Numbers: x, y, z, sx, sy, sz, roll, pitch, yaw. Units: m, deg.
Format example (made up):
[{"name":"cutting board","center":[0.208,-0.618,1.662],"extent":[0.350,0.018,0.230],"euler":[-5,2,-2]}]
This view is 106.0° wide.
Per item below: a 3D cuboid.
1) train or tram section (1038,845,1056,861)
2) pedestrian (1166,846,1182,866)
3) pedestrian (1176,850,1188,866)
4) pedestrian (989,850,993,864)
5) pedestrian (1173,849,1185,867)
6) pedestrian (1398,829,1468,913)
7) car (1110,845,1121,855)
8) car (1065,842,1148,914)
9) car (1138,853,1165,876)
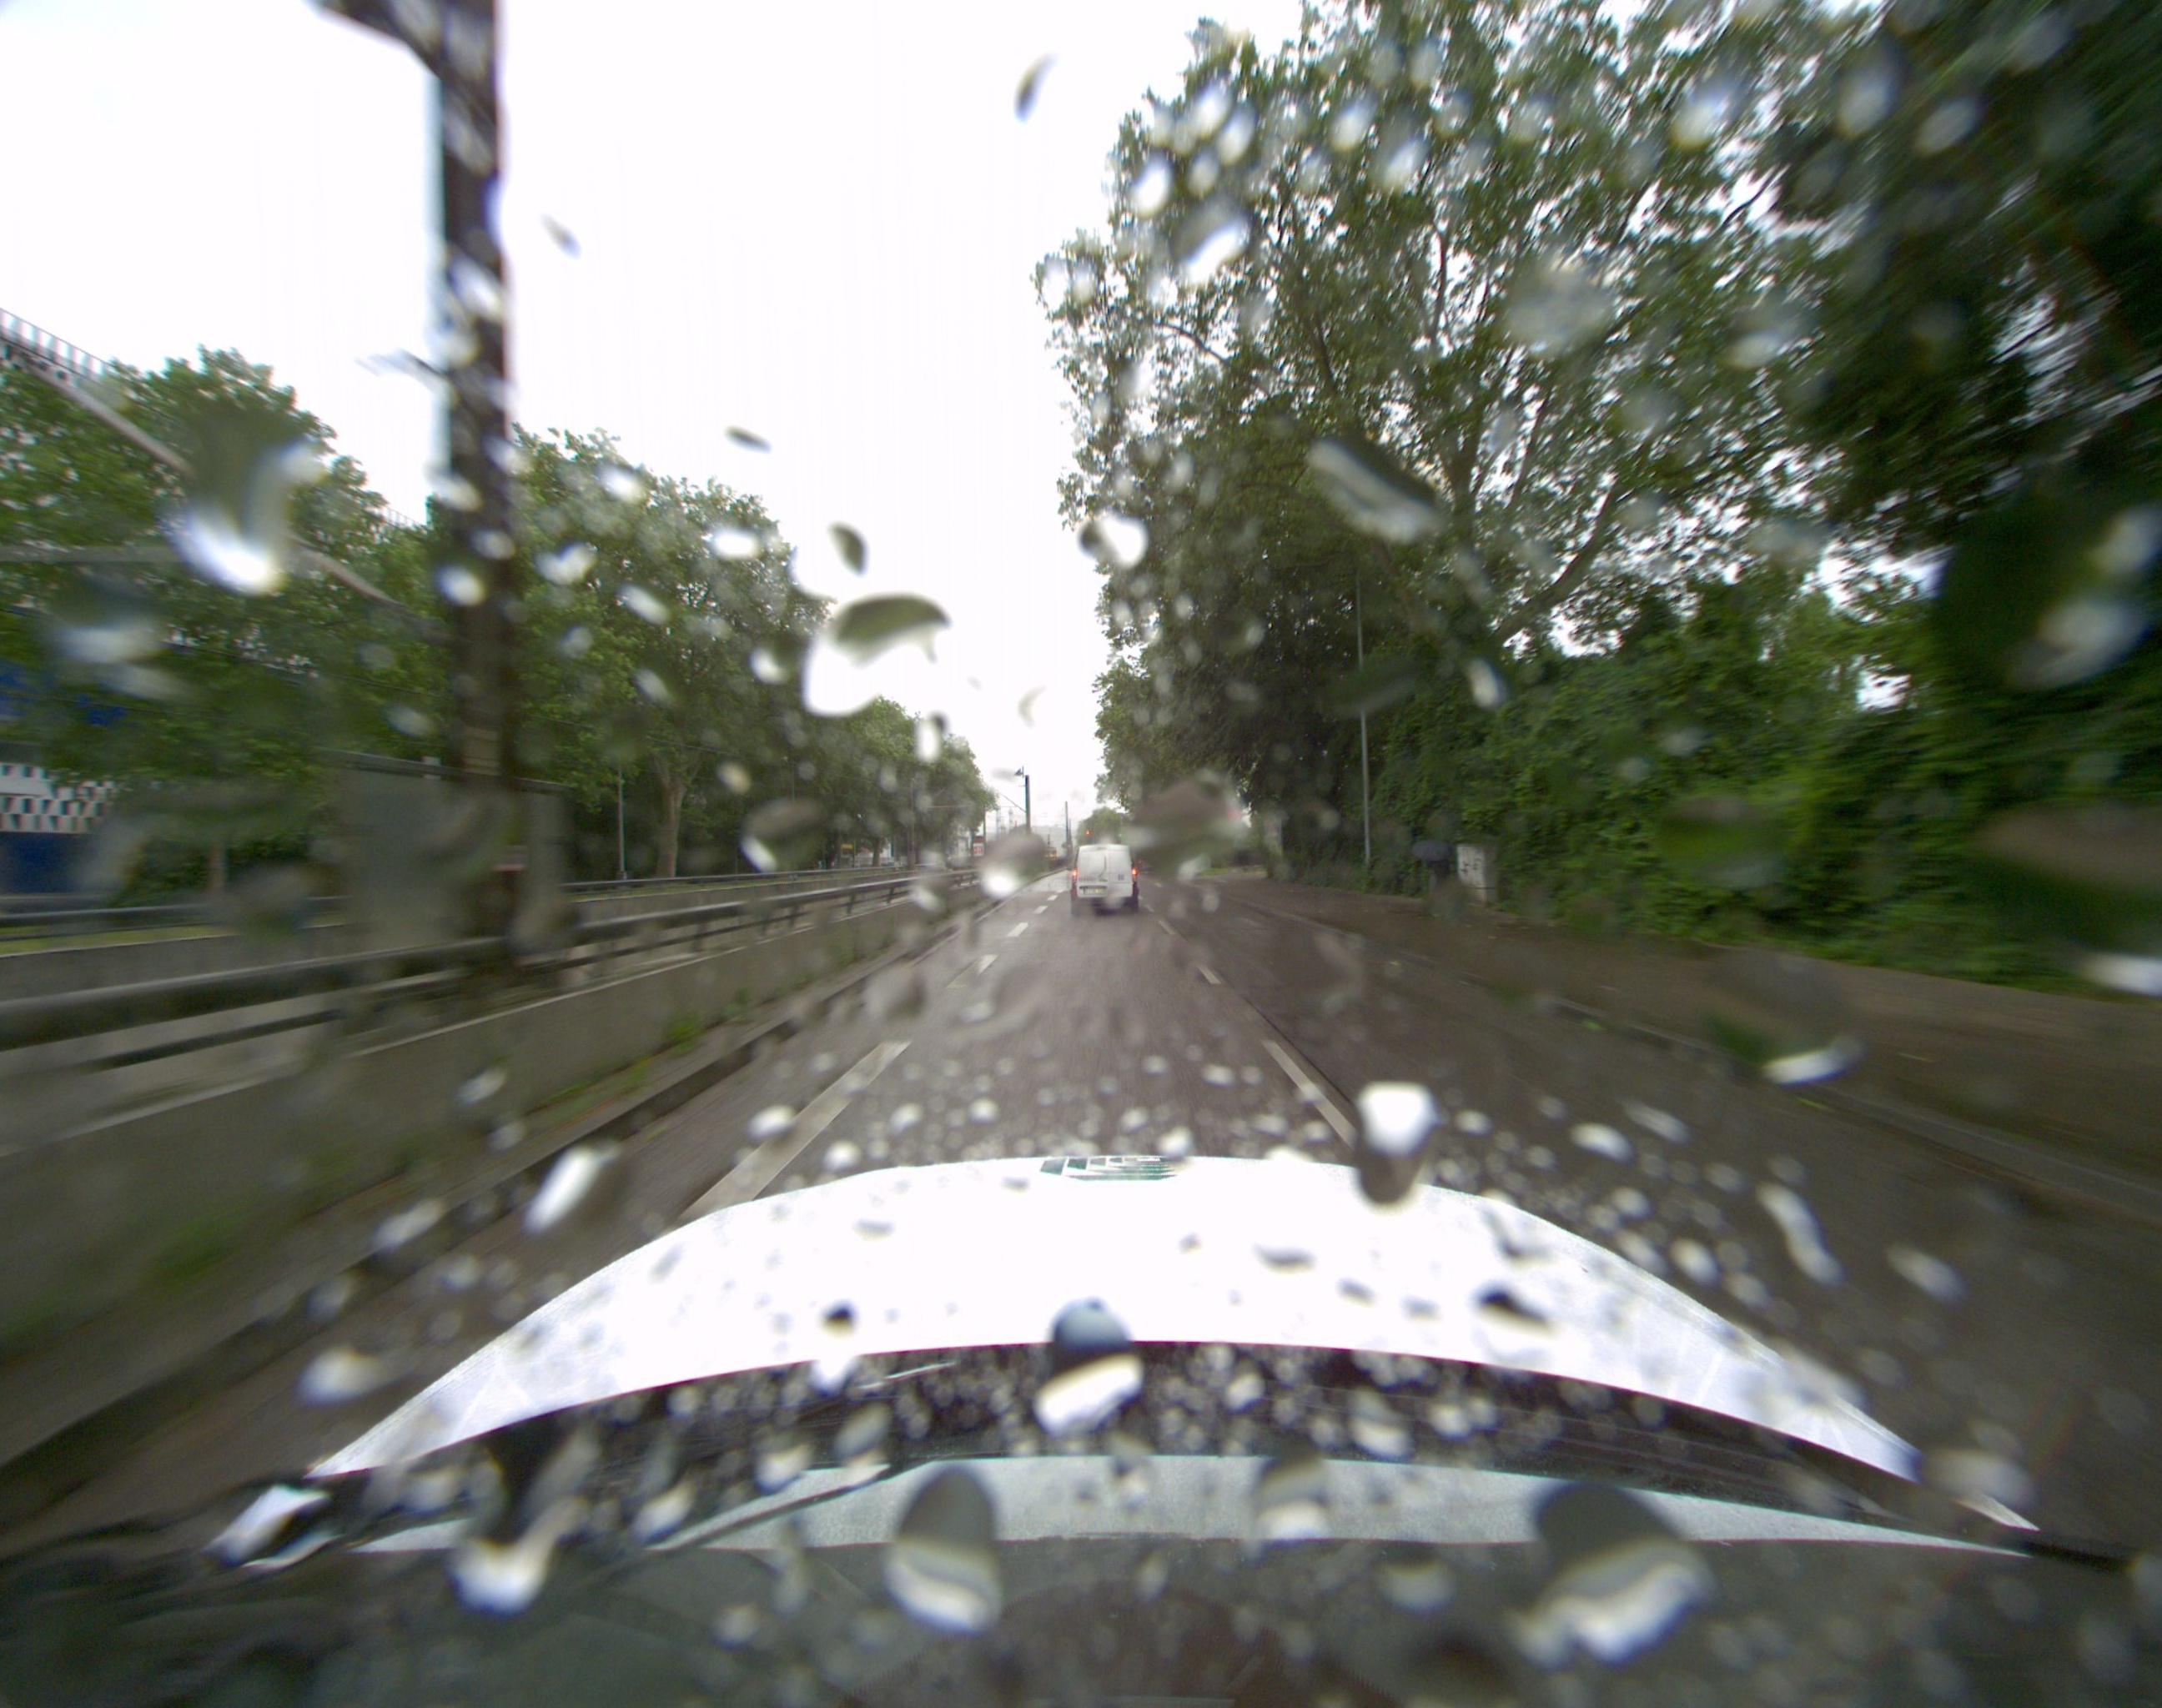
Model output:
[{"name":"train or tram section","center":[-9.231,-0.158,227.190],"extent":[3.758,4.036,27.089],"euler":[1,0,0]},{"name":"pedestrian","center":[8.563,0.191,74.877],"extent":[1.235,1.785,1.148],"euler":[-5,-1,2]},{"name":"pedestrian","center":[8.806,0.362,70.780],"extent":[0.888,1.390,1.017],"euler":[-3,-1,2]},{"name":"pedestrian","center":[-13.057,0.430,118.467],"extent":[0.493,2.014,0.581],"euler":[1,0,-9]},{"name":"pedestrian","center":[8.783,0.377,72.880],"extent":[0.943,1.589,1.294],"euler":[-2,0,2]},{"name":"pedestrian","center":[7.399,0.347,17.182],"extent":[0.963,1.702,1.141],"euler":[-2,0,1]},{"name":"car","center":[6.167,-0.718,145.615],"extent":[1.986,1.750,4.001],"euler":[1,0,1]},{"name":"car","center":[0.613,0.595,22.249],"extent":[2.019,1.775,4.273],"euler":[1,0,-1]},{"name":"car","center":[5.634,0.811,65.673],"extent":[1.985,1.750,4.003],"euler":[1,0,3]}]
